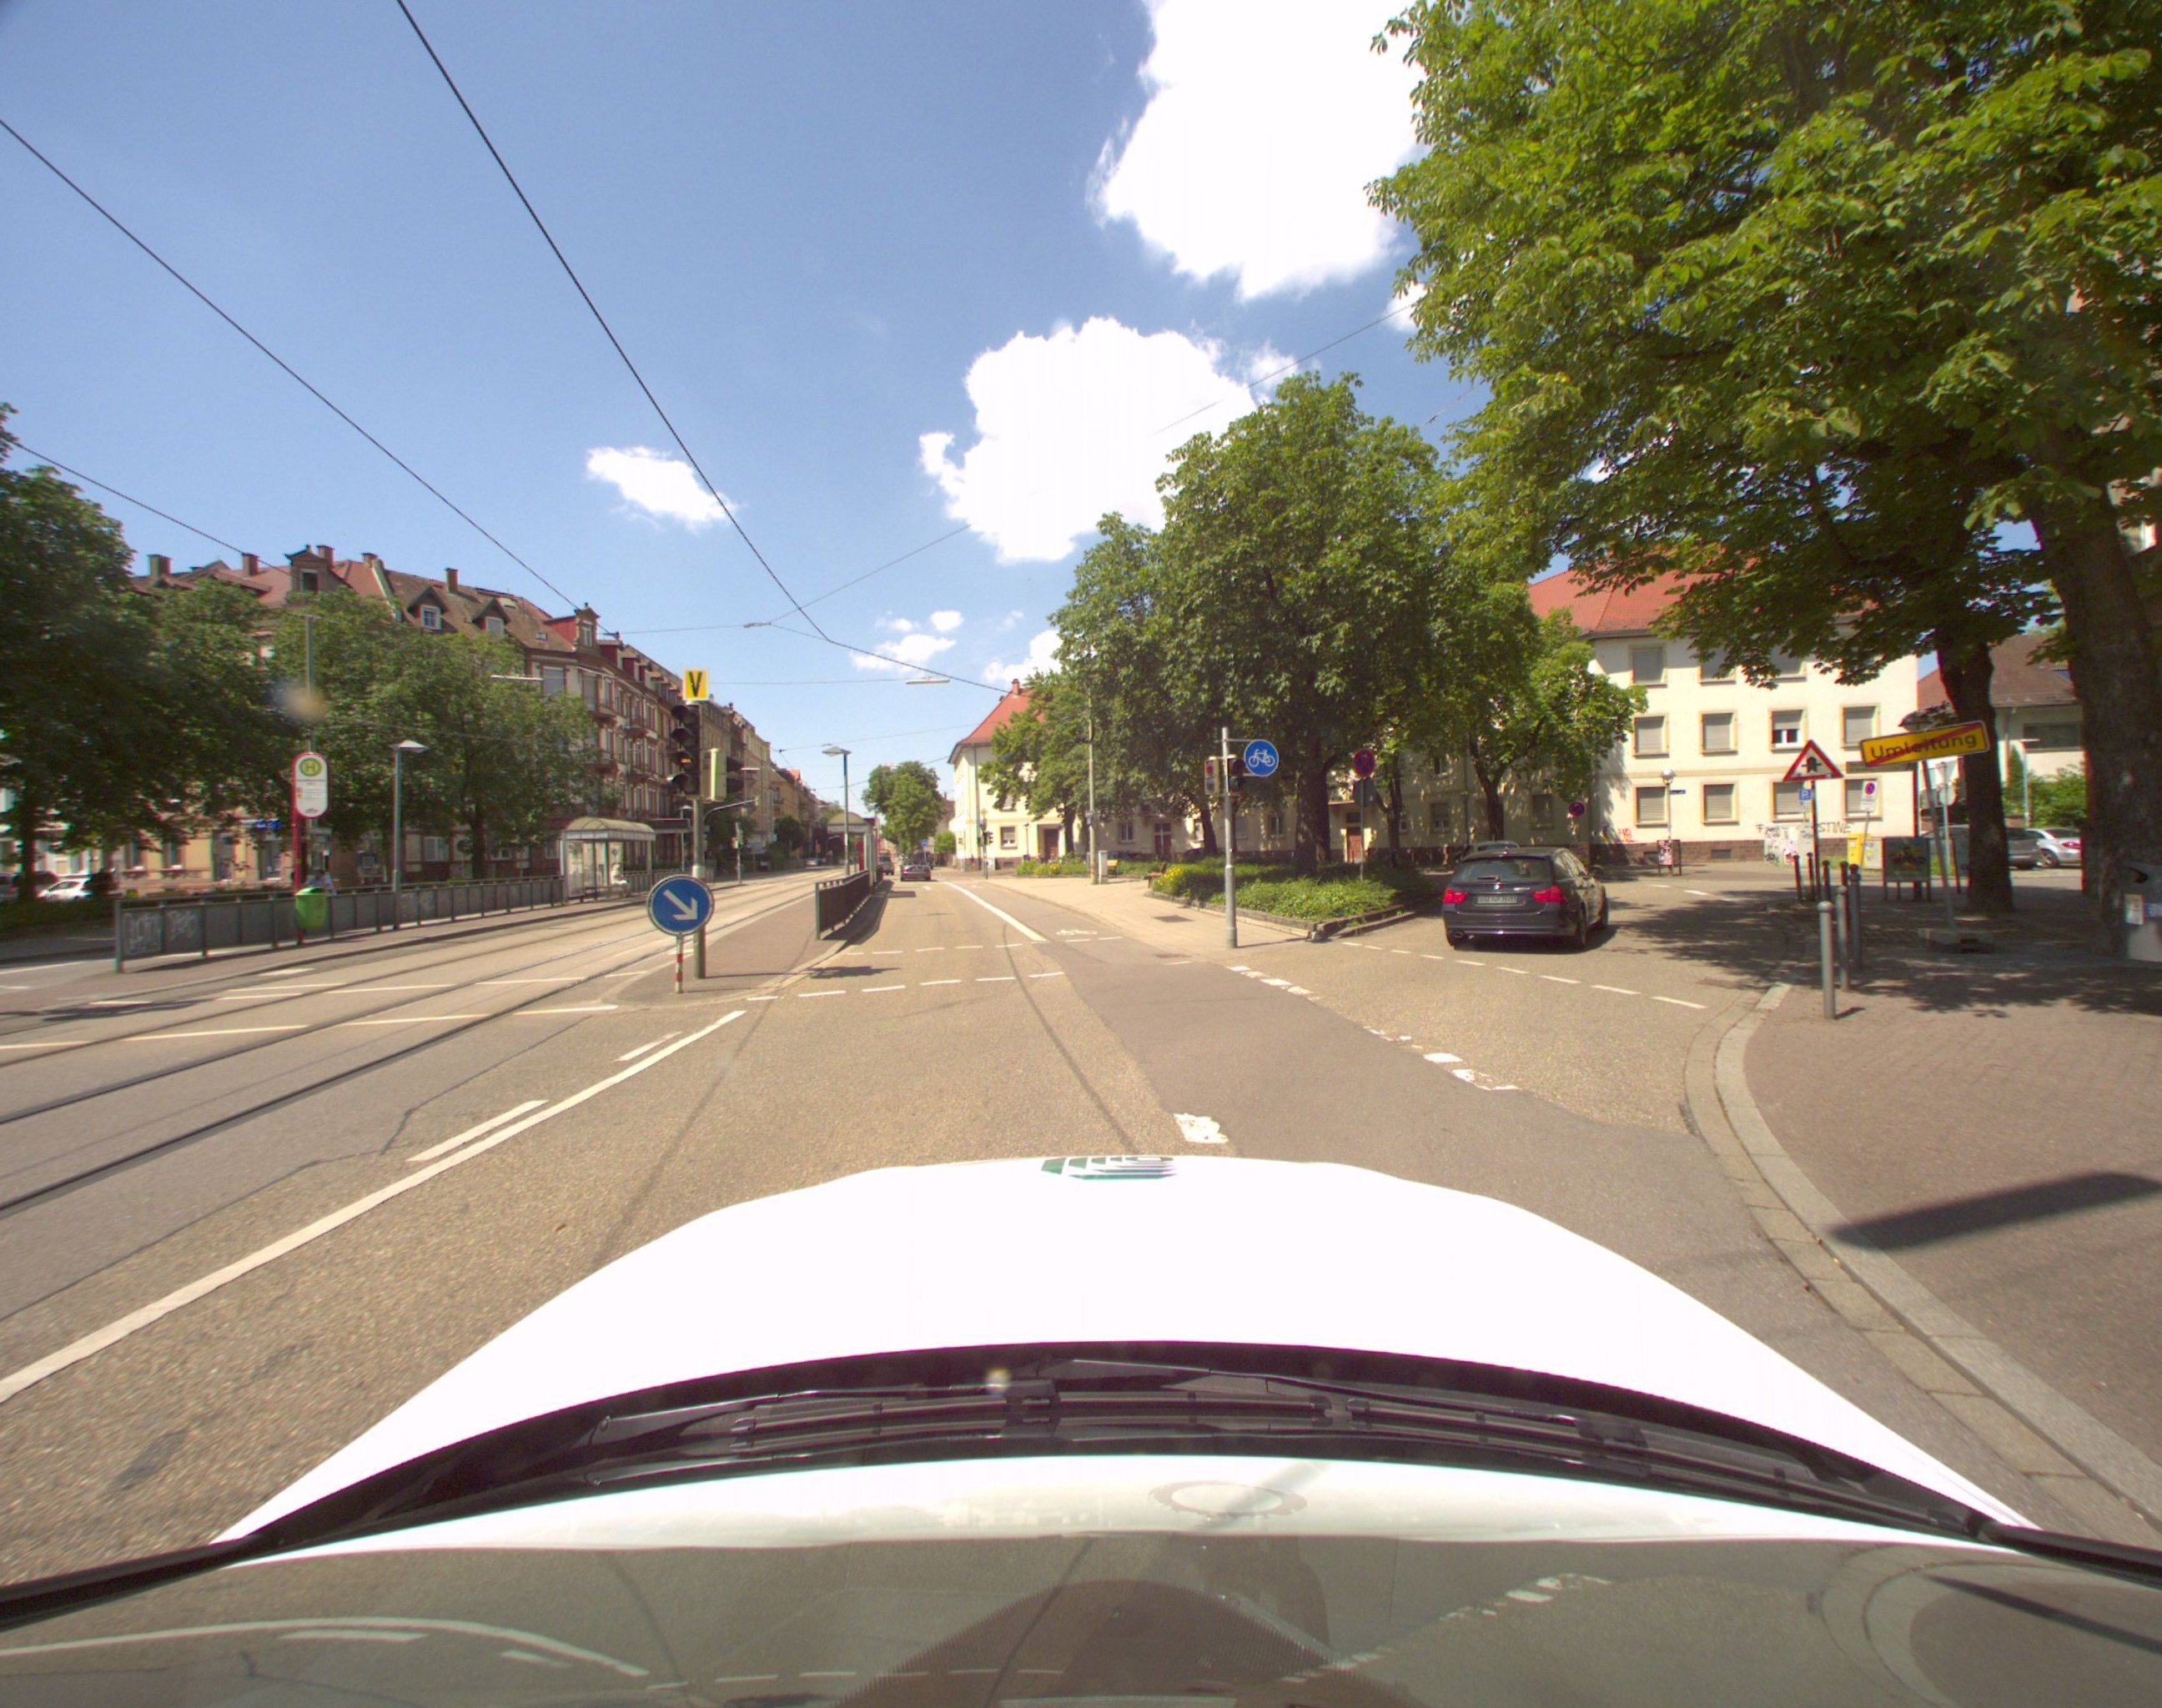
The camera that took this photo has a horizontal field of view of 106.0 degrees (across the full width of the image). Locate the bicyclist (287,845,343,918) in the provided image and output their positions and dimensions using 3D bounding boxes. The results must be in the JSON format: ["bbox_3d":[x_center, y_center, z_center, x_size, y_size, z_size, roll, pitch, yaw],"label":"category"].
[{"bbox_3d":[-20.328,0.722,21.633,0.723,1.870,0.822,-2,0,-12],"label":"bicyclist"}]

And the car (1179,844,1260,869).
[{"bbox_3d":[7.828,0.177,46.355,1.803,1.328,4.285,-2,0,-45],"label":"car"}]

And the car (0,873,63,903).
[{"bbox_3d":[-56.726,1.838,43.395,3.436,1.471,1.691,-2,0,12],"label":"car"}]

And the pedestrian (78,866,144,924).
[{"bbox_3d":[-32.525,1.365,27.323,0.994,1.868,1.020,-2,0,8],"label":"pedestrian"}]

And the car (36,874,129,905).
[{"bbox_3d":[-52.624,1.861,42.943,3.436,1.471,1.691,-2,0,12],"label":"car"}]

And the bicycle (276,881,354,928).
[{"bbox_3d":[-20.279,1.316,21.593,0.730,1.101,1.707,-2,0,-14],"label":"bicycle"}]

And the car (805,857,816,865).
[{"bbox_3d":[-49.880,1.280,149.937,1.794,1.586,3.972,0,-1,-21],"label":"car"}]

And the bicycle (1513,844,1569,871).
[{"bbox_3d":[19.294,0.127,34.169,2.213,1.058,0.651,-2,0,-15],"label":"bicycle"}]

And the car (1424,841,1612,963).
[{"bbox_3d":[6.727,0.577,12.262,1.706,1.409,4.594,-2,1,38],"label":"car"}]

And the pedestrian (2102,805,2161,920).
[{"bbox_3d":[14.903,0.100,11.278,0.740,1.556,0.806,-2,0,37],"label":"pedestrian"}]

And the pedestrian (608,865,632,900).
[{"bbox_3d":[-17.096,1.045,30.200,0.615,1.243,0.624,-2,0,-18],"label":"pedestrian"}]

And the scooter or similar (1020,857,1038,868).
[{"bbox_3d":[-3.963,0.639,62.106,1.315,0.837,0.523,-2,0,-18],"label":"scooter or similar"}]

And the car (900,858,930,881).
[{"bbox_3d":[-10.381,0.928,50.753,1.693,1.323,3.804,-1,0,-13],"label":"car"}]

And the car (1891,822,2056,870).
[{"bbox_3d":[29.591,-0.248,27.181,1.667,1.442,3.740,-2,0,7],"label":"car"}]

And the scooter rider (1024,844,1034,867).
[{"bbox_3d":[-3.987,0.126,62.102,0.592,1.687,0.525,-2,0,-18],"label":"scooter rider"}]

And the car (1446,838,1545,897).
[{"bbox_3d":[11.573,0.331,22.976,1.673,1.484,3.699,-2,0,14],"label":"car"}]

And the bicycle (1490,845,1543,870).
[{"bbox_3d":[19.233,0.151,35.942,2.210,1.058,0.555,-2,0,-12],"label":"bicycle"}]

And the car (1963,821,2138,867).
[{"bbox_3d":[32.182,-0.333,27.206,1.667,1.376,3.740,-2,0,7],"label":"car"}]

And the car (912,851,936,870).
[{"bbox_3d":[-15.732,0.622,81.409,1.998,1.848,3.978,-2,0,-16],"label":"car"}]

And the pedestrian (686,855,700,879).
[{"bbox_3d":[-30.451,1.000,63.856,0.635,1.811,0.742,-2,0,7],"label":"pedestrian"}]

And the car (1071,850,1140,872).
[{"bbox_3d":[1.523,0.445,50.745,3.952,1.243,1.632,-2,0,22],"label":"car"}]

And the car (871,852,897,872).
[{"bbox_3d":[-16.237,0.642,66.983,1.697,1.514,3.795,-1,0,-20],"label":"car"}]

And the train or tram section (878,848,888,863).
[{"bbox_3d":[-50.399,0.357,207.711,2.192,3.482,8.807,-2,0,-13],"label":"train or tram section"}]
